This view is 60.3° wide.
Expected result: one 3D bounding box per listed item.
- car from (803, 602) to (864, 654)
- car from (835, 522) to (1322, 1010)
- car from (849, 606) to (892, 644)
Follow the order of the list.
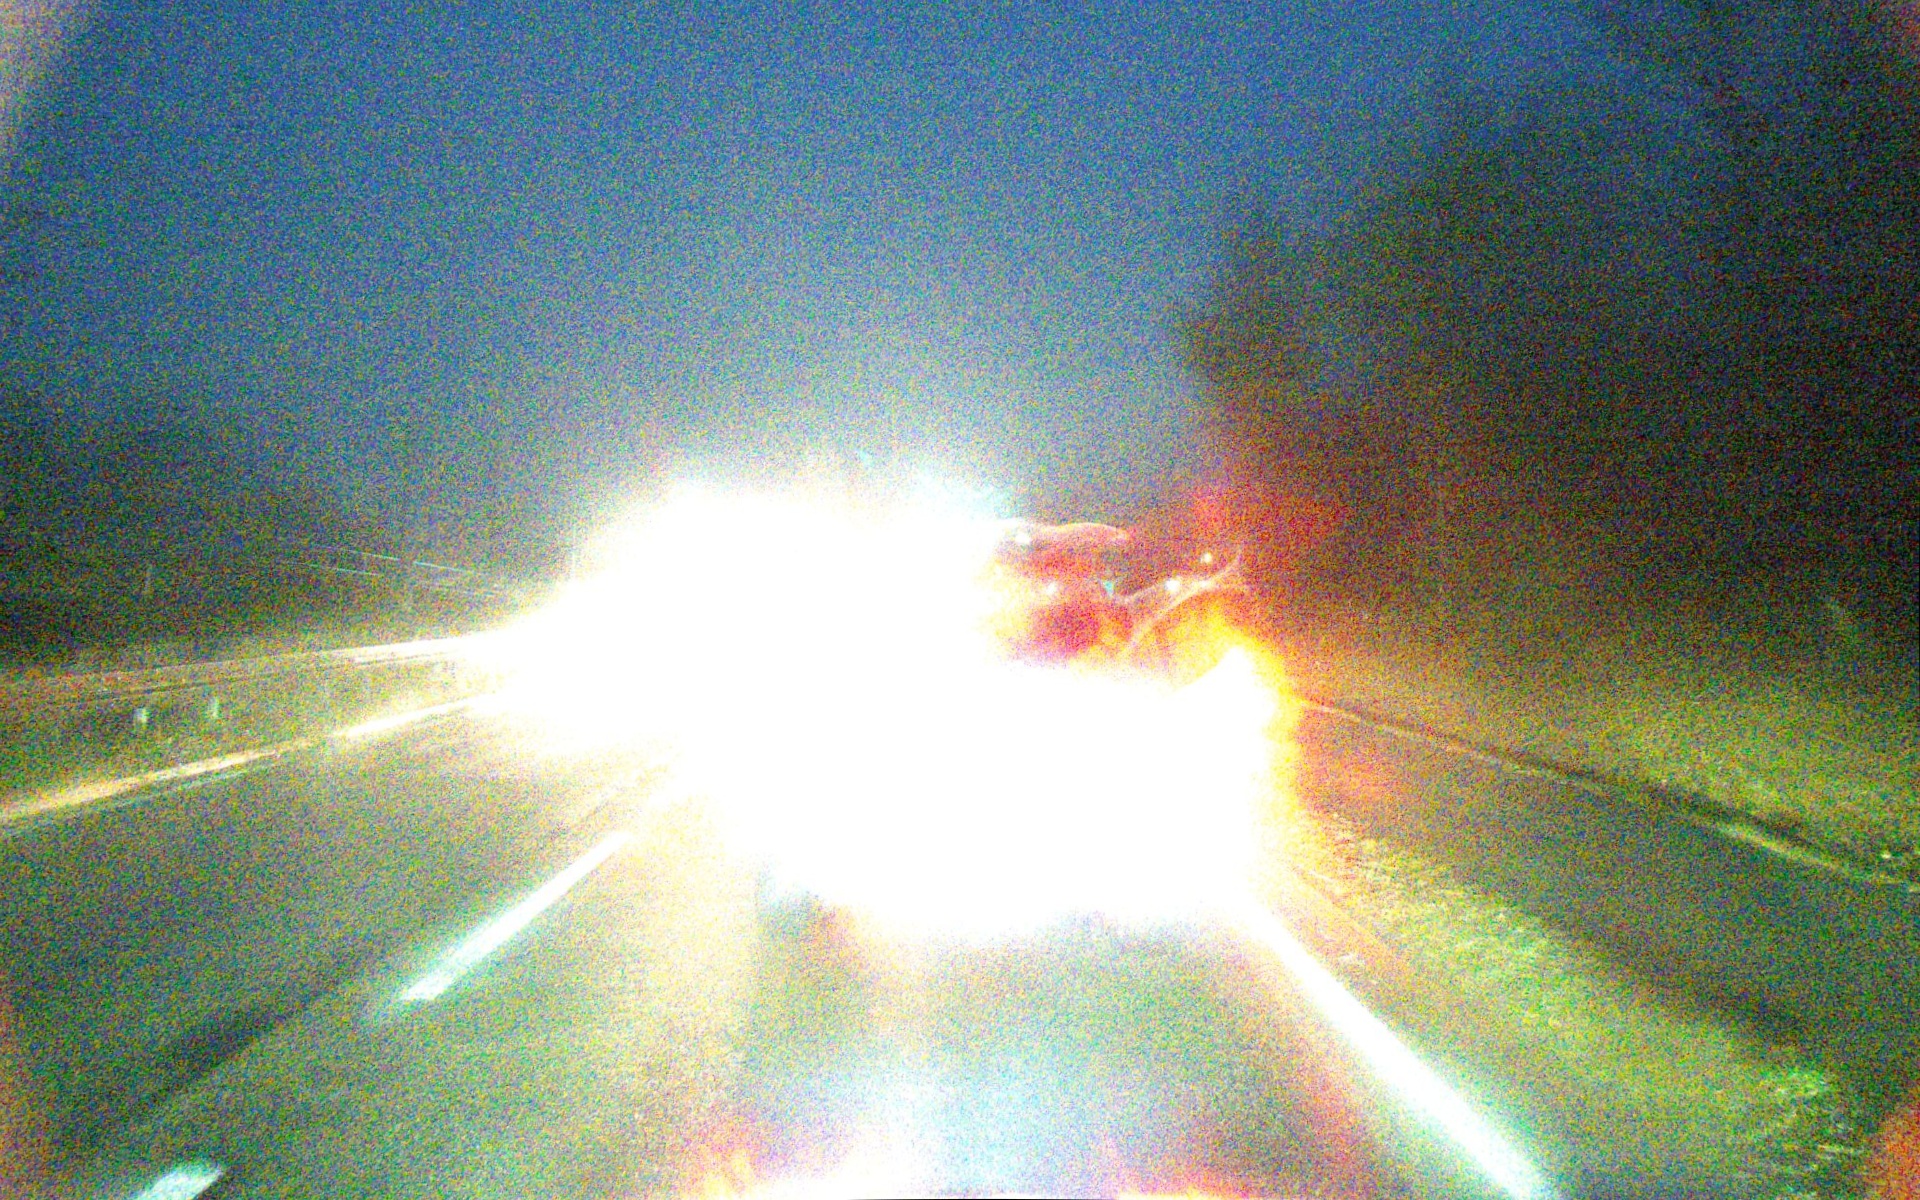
[{"bbox_3d":[-4.294,0.919,56.713,1.912,1.685,4.122,0,0,-3],"label":"car"},{"bbox_3d":[0.418,0.598,7.982,1.739,1.742,3.999,1,0,-1],"label":"car"},{"bbox_3d":[-4.032,1.100,75.085,1.800,1.573,4.256,1,0,-2],"label":"car"}]
